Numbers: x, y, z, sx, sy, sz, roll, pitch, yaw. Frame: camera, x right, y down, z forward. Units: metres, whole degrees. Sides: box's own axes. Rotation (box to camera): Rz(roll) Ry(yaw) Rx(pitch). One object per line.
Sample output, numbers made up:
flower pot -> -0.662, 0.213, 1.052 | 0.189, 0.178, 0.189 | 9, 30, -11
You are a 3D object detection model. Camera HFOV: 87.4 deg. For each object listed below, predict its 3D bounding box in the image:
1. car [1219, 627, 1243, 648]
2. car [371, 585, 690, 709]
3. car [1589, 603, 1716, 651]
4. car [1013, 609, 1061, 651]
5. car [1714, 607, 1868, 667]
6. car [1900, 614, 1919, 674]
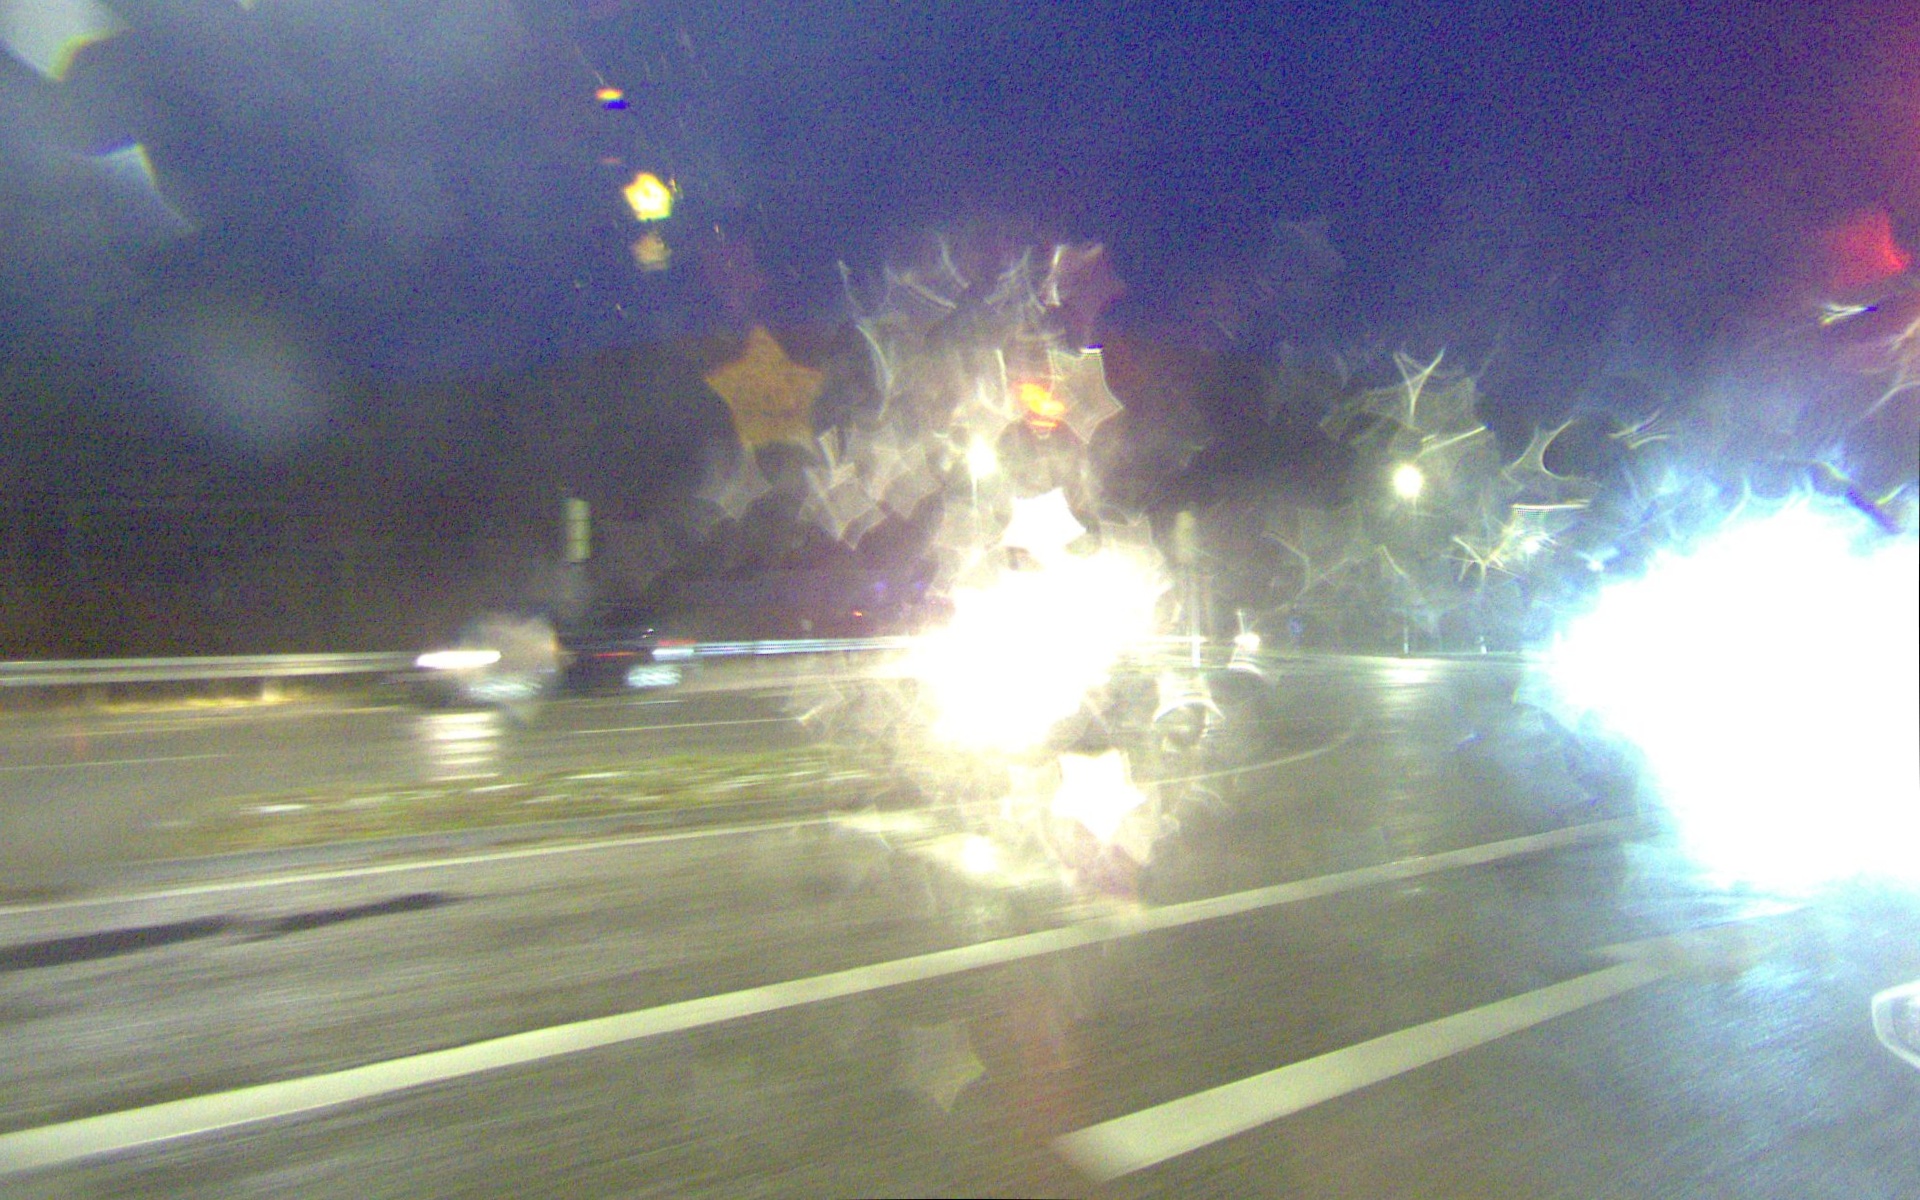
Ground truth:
car -> 20.782, 2.897, 76.868 | 1.626, 1.518, 4.377 | -2, -3, 16
car -> -6.595, 0.690, 15.969 | 1.683, 1.675, 4.497 | 1, -1, 32
car -> 27.390, 1.055, 39.877 | 3.924, 1.856, 1.720 | 0, -1, 25
car -> 3.039, 1.178, 40.396 | 1.717, 1.523, 4.895 | 1, -1, 3
car -> 23.763, 1.033, 28.691 | 4.854, 1.592, 1.784 | 1, 0, -30
car -> 27.896, 1.213, 27.684 | 4.658, 1.592, 1.690 | 1, 0, -31
